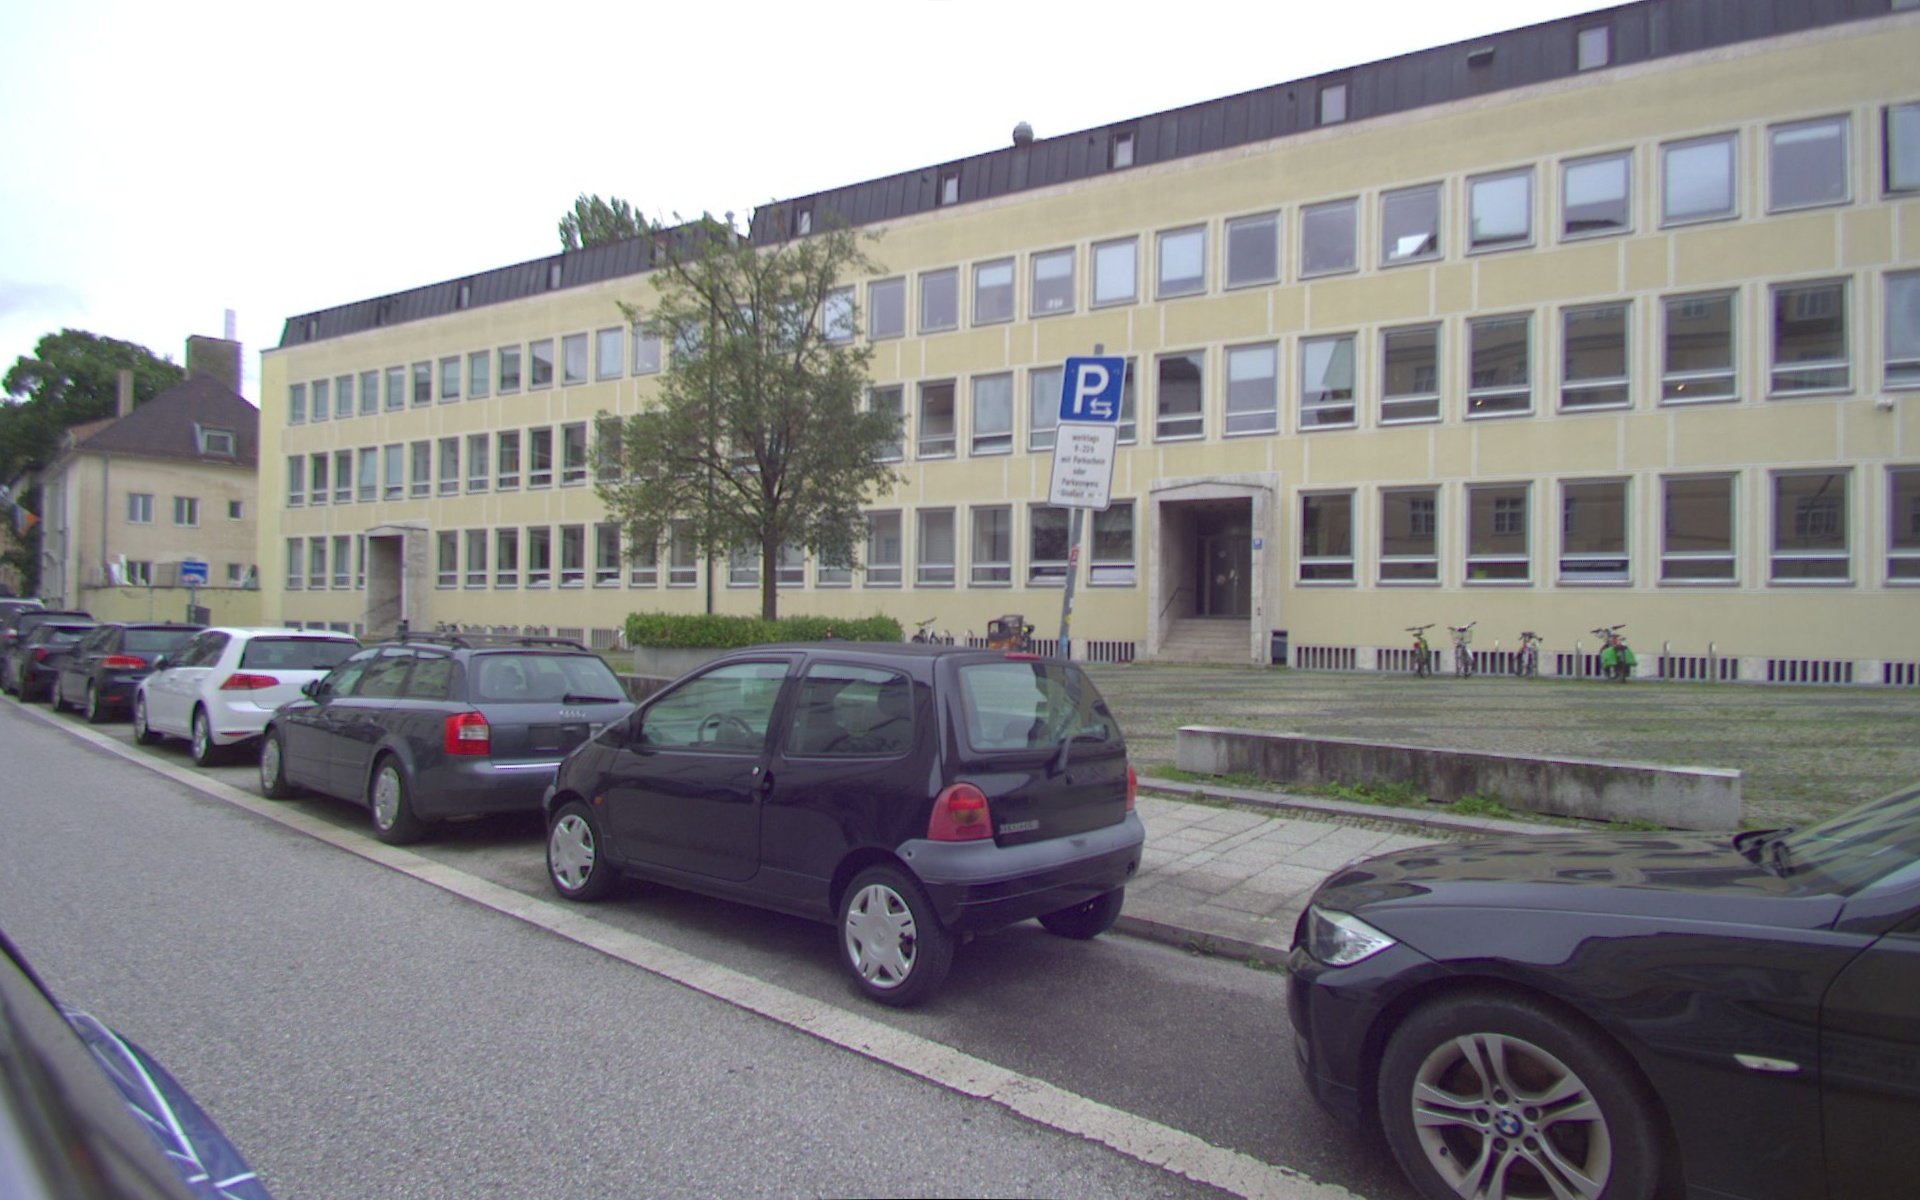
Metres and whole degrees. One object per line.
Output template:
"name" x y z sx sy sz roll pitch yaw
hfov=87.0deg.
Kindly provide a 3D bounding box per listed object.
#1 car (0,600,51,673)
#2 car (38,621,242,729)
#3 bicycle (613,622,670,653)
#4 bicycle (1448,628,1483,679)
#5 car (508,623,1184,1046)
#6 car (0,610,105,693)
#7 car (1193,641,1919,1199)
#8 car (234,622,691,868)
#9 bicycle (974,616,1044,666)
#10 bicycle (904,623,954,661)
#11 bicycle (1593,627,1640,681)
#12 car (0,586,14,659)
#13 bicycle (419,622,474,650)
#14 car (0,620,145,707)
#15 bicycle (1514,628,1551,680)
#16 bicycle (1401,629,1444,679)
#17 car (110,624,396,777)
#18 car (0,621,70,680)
"car" -28.168 1.011 29.361 5.018 1.994 1.909 0 -3 40
"car" -12.797 1.087 15.720 3.970 1.465 1.640 -1 -3 39
"bicycle" -10.774 1.253 34.307 0.623 1.022 1.932 -1 -1 32
"bicycle" 10.826 1.126 21.650 0.622 1.022 1.934 -1 -1 28
"car" -0.719 0.888 5.272 3.309 1.465 1.640 -1 -3 39
"car" -20.699 1.122 22.611 4.447 1.679 1.725 -1 -5 42
"car" 2.958 0.852 2.208 4.447 1.416 1.783 -1 -3 36
"car" -4.210 0.942 8.219 4.394 1.465 1.736 -1 -3 41
"bicycle" 1.339 1.070 27.022 1.051 1.258 2.422 -1 -1 25
"bicycle" -0.844 1.174 28.489 0.622 1.022 1.936 -1 -1 25
"bicycle" 13.235 1.068 20.445 0.622 1.022 1.934 -1 -1 28
"car" -37.701 0.822 38.386 5.654 2.666 2.271 -1 -3 44
"bicycle" -19.607 1.357 38.675 0.578 1.022 1.937 -1 0 25
"car" -16.783 1.139 18.984 3.868 1.465 1.662 -1 -3 42
"bicycle" 12.055 1.108 21.345 0.622 1.022 1.934 -1 -1 28
"bicycle" 10.043 1.139 21.925 0.623 1.022 1.932 -1 -1 31
"car" -8.331 1.045 11.799 4.069 1.465 1.640 -1 -3 39
"car" -24.550 1.272 26.285 3.917 1.398 1.725 -1 -1 42
